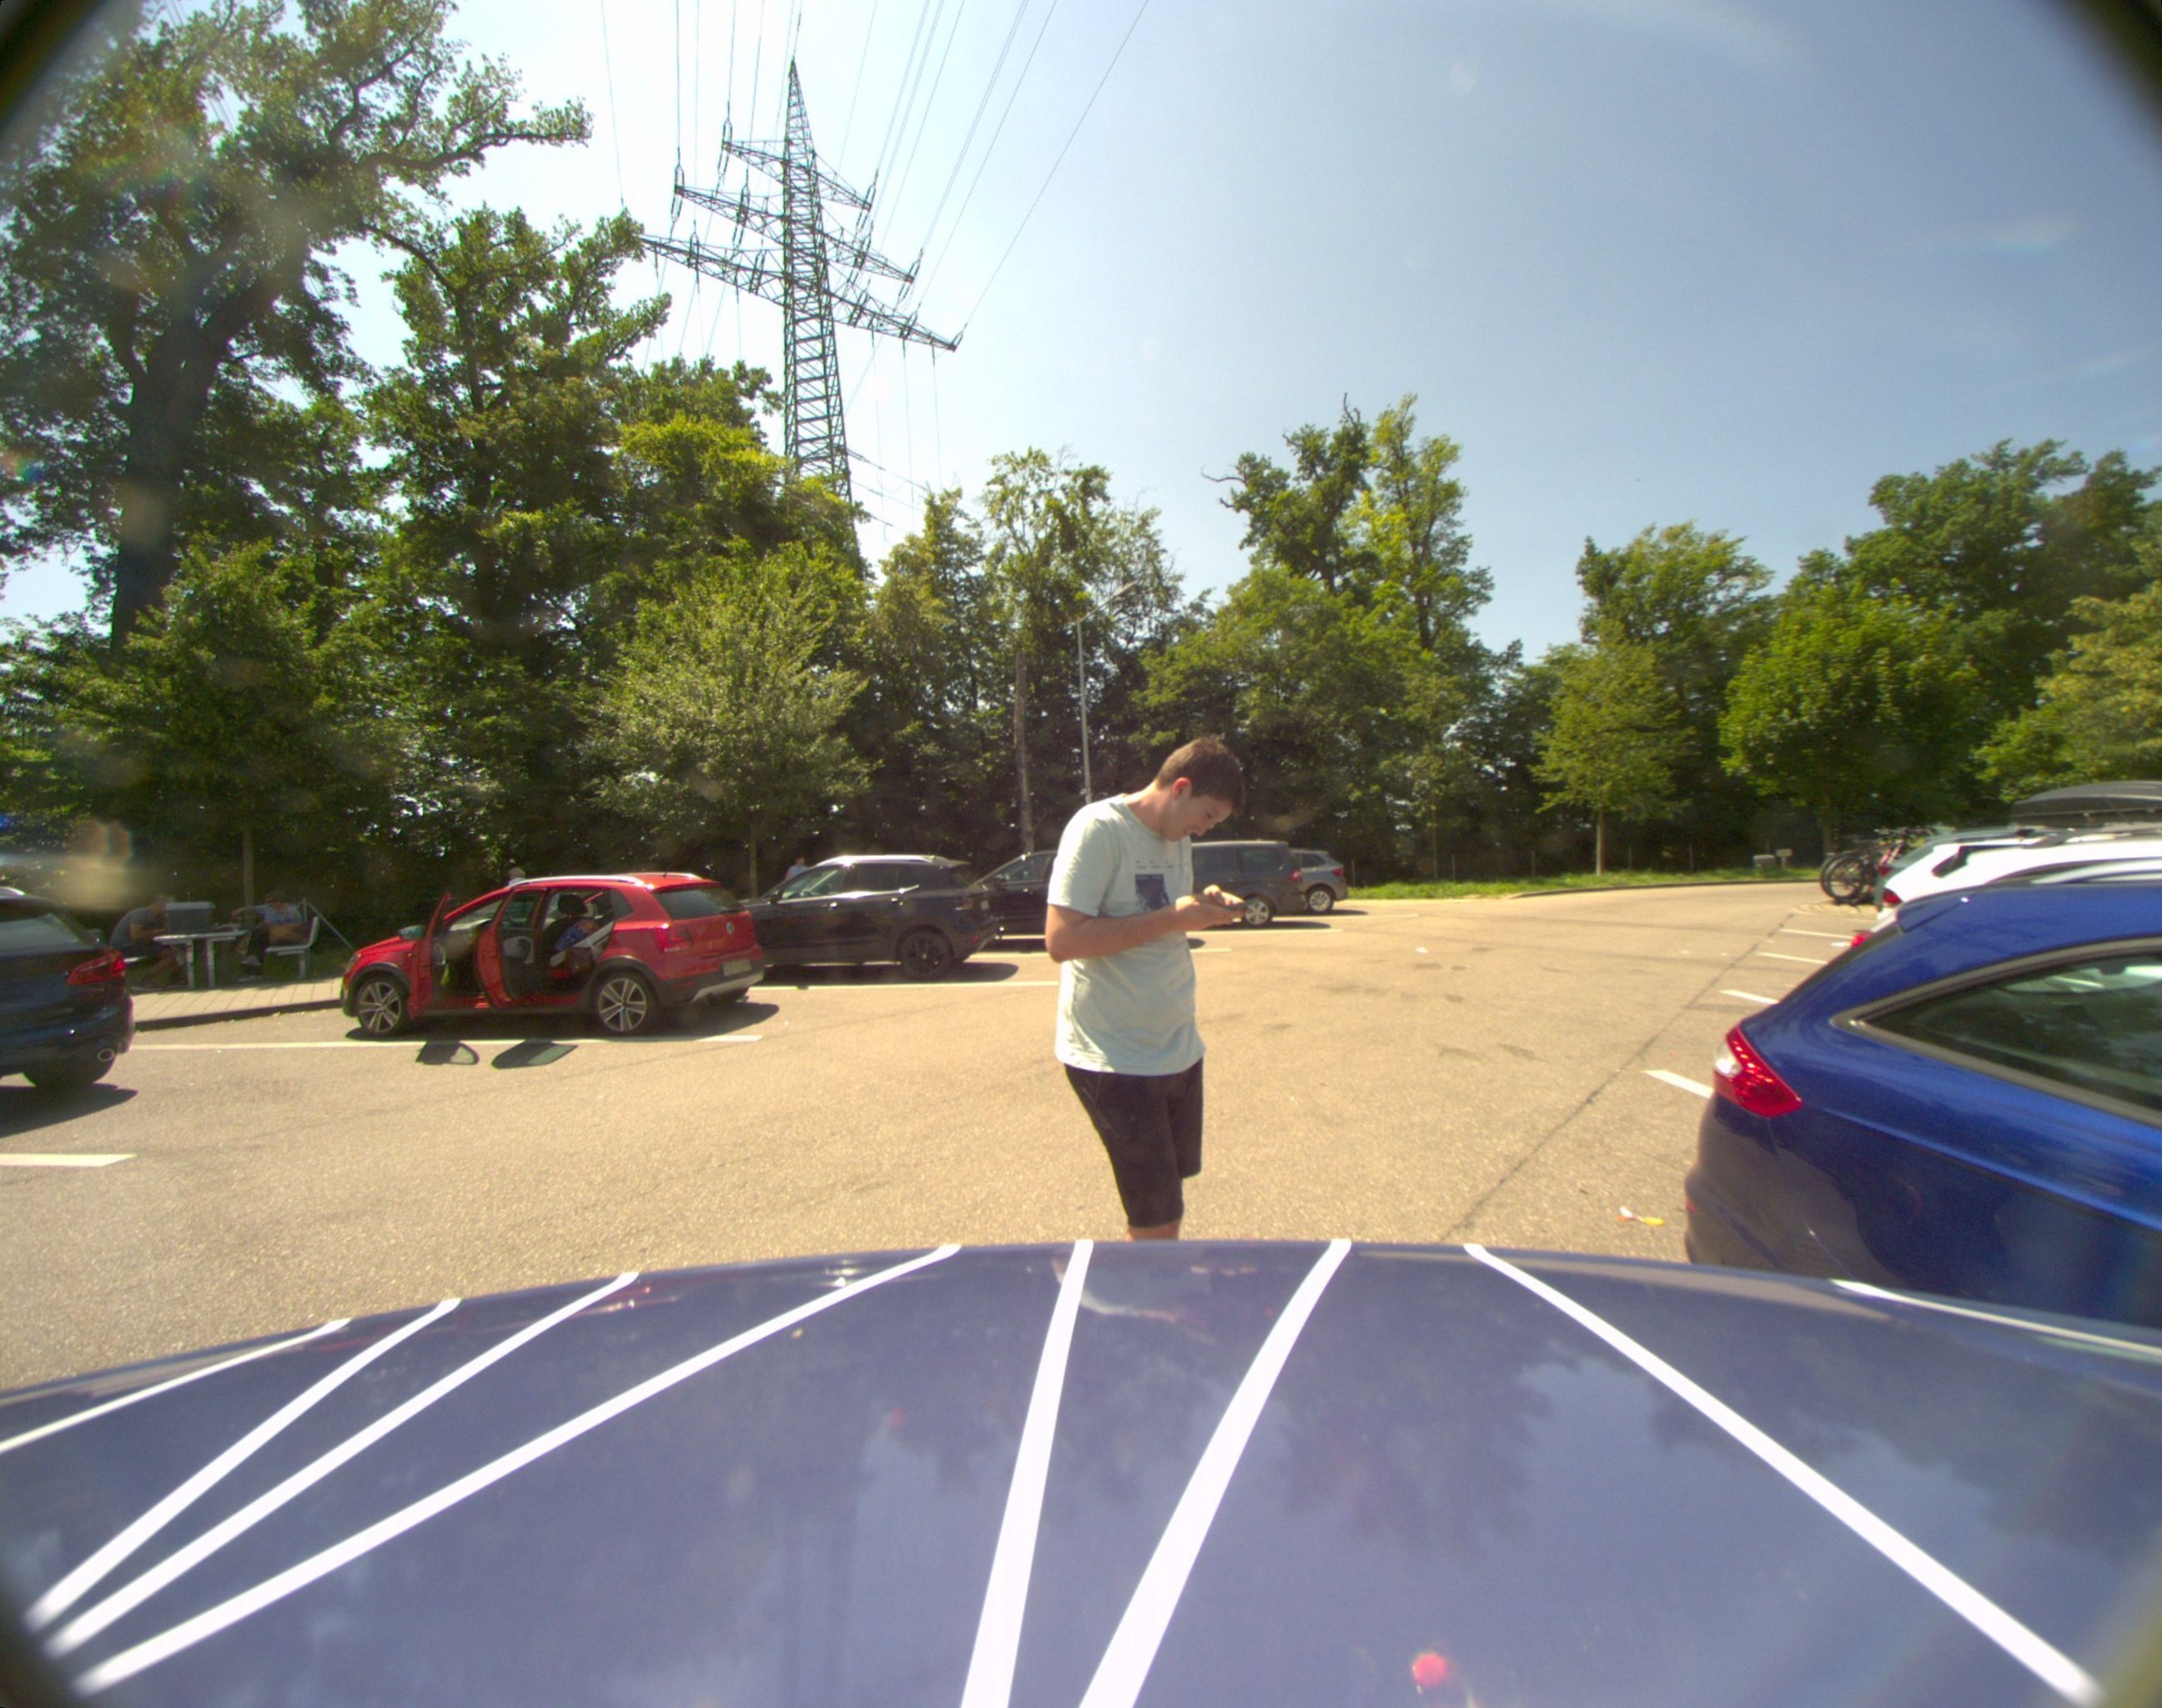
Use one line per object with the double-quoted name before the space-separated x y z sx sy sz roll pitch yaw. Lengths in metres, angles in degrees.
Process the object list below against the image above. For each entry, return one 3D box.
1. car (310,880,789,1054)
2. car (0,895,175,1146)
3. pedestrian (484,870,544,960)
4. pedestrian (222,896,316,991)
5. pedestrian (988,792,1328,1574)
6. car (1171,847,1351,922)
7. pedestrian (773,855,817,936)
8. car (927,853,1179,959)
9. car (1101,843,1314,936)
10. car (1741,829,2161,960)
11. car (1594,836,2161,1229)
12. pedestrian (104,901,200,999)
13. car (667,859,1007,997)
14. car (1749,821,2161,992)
"car" -5.196 1.073 7.715 3.704 1.448 1.781 -2 0 7
"car" -8.921 1.157 4.997 4.011 1.558 1.846 -2 0 6
"pedestrian" -10.642 1.115 14.254 0.777 1.584 0.807 -2 0 -43
"pedestrian" -11.831 1.276 11.073 0.828 1.287 0.672 -2 0 24
"pedestrian" 0.173 0.728 1.961 0.687 1.699 0.578 -2 0 1
"car" 4.175 0.714 18.198 3.964 1.577 1.781 -2 0 7
"pedestrian" -5.895 0.840 15.661 0.716 1.584 0.808 -2 0 -27
"car" -0.380 0.842 12.961 3.964 1.582 1.781 -2 0 8
"car" 2.506 0.697 15.445 3.964 1.678 1.781 -2 0 7
"car" 12.362 0.476 10.938 1.779 1.456 4.470 -2 -1 0
"car" 4.904 0.657 3.662 1.779 1.456 4.470 -2 -1 0
"pedestrian" -12.850 1.310 10.519 0.652 1.262 0.672 -2 0 24
"car" -3.149 0.939 10.375 3.966 1.582 1.841 -2 0 3
"car" 10.058 0.441 8.154 1.779 1.456 4.470 -2 -1 0
